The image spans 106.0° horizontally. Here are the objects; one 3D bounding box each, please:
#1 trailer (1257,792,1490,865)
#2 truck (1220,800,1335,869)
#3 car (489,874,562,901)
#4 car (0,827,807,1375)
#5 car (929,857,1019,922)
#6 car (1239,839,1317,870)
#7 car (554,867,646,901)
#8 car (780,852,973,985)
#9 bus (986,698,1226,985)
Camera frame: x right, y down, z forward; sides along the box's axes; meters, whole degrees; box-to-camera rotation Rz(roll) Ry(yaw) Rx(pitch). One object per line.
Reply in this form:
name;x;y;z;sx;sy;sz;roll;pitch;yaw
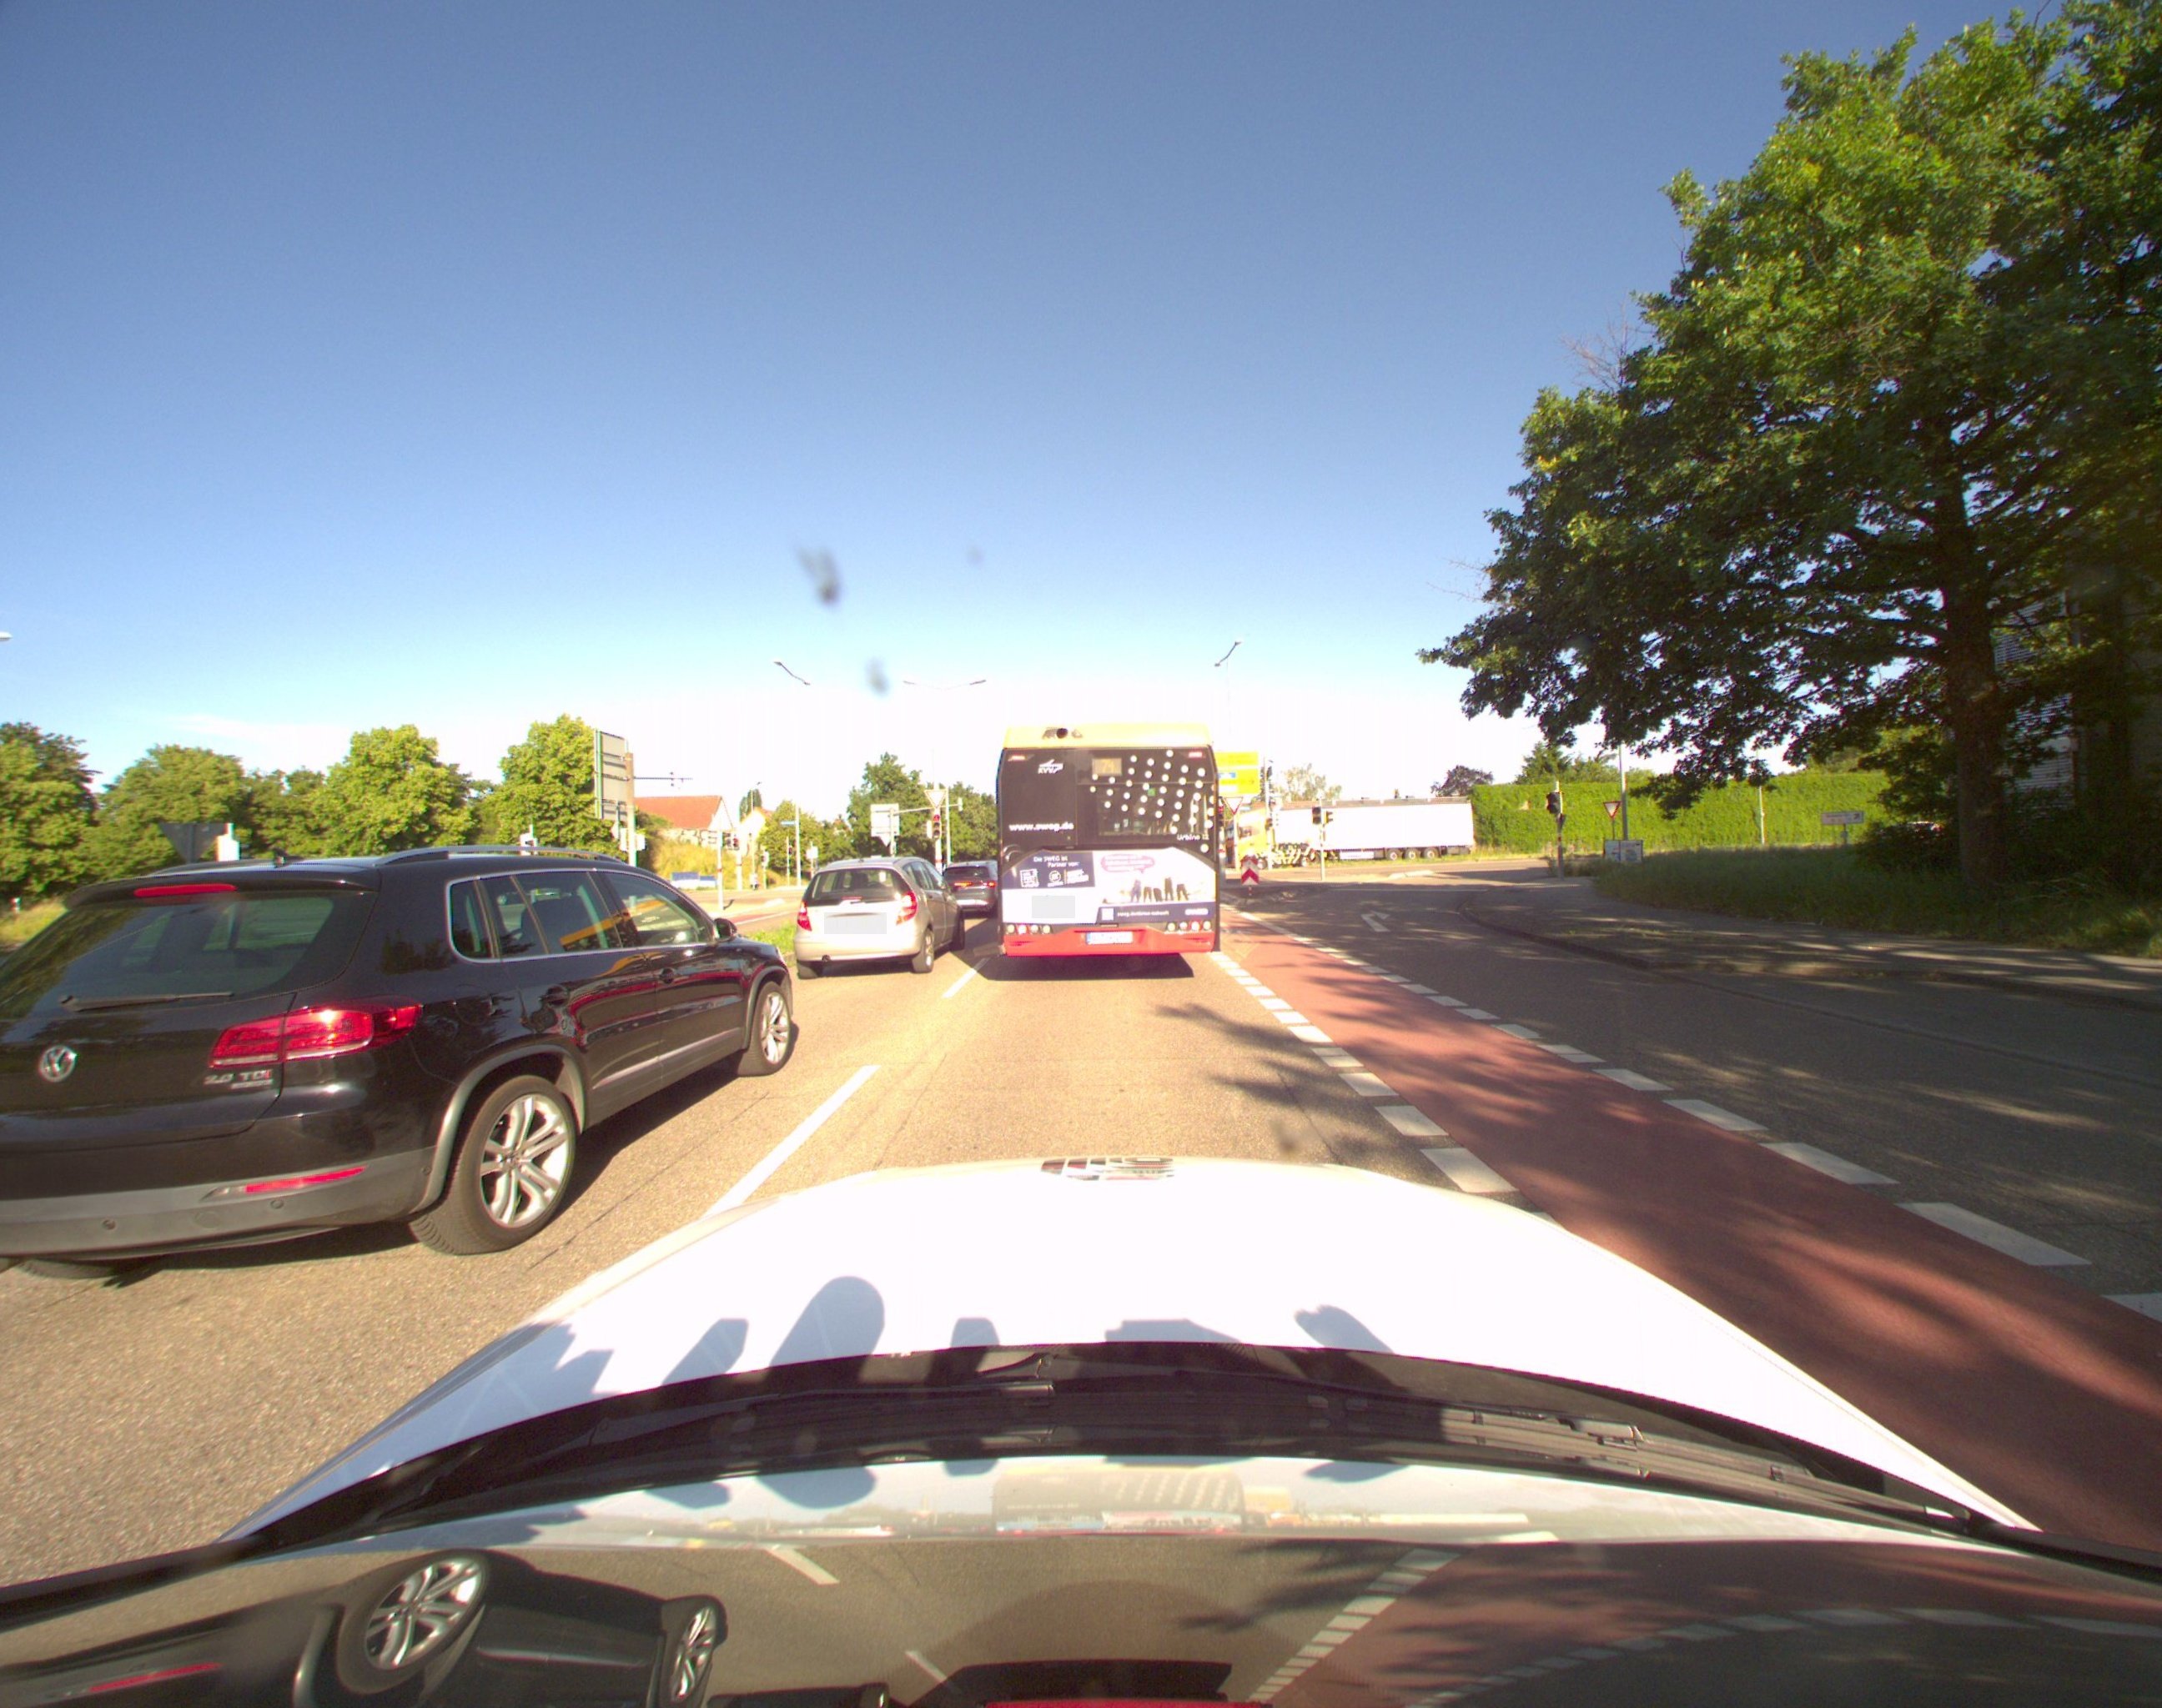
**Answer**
trailer;19.657;-1.685;55.136;14.636;4.012;3.434;-3;0;-6
truck;13.048;-1.284;54.447;6.466;4.012;3.434;-4;0;-5
car;-34.654;2.064;50.821;3.614;1.459;1.558;-2;-1;-40
car;-3.175;0.797;4.554;1.766;1.653;4.001;-3;0;1
car;-2.691;0.854;21.314;1.686;1.458;3.751;-3;0;1
car;11.439;0.010;47.409;4.058;1.526;1.766;-3;0;-4
car;-24.571;1.531;41.675;3.577;1.560;1.747;-2;0;-5
car;-2.878;0.822;12.380;1.755;1.589;4.001;-3;0;1
bus;0.521;-0.166;15.018;2.632;3.167;11.867;-1;0;2
